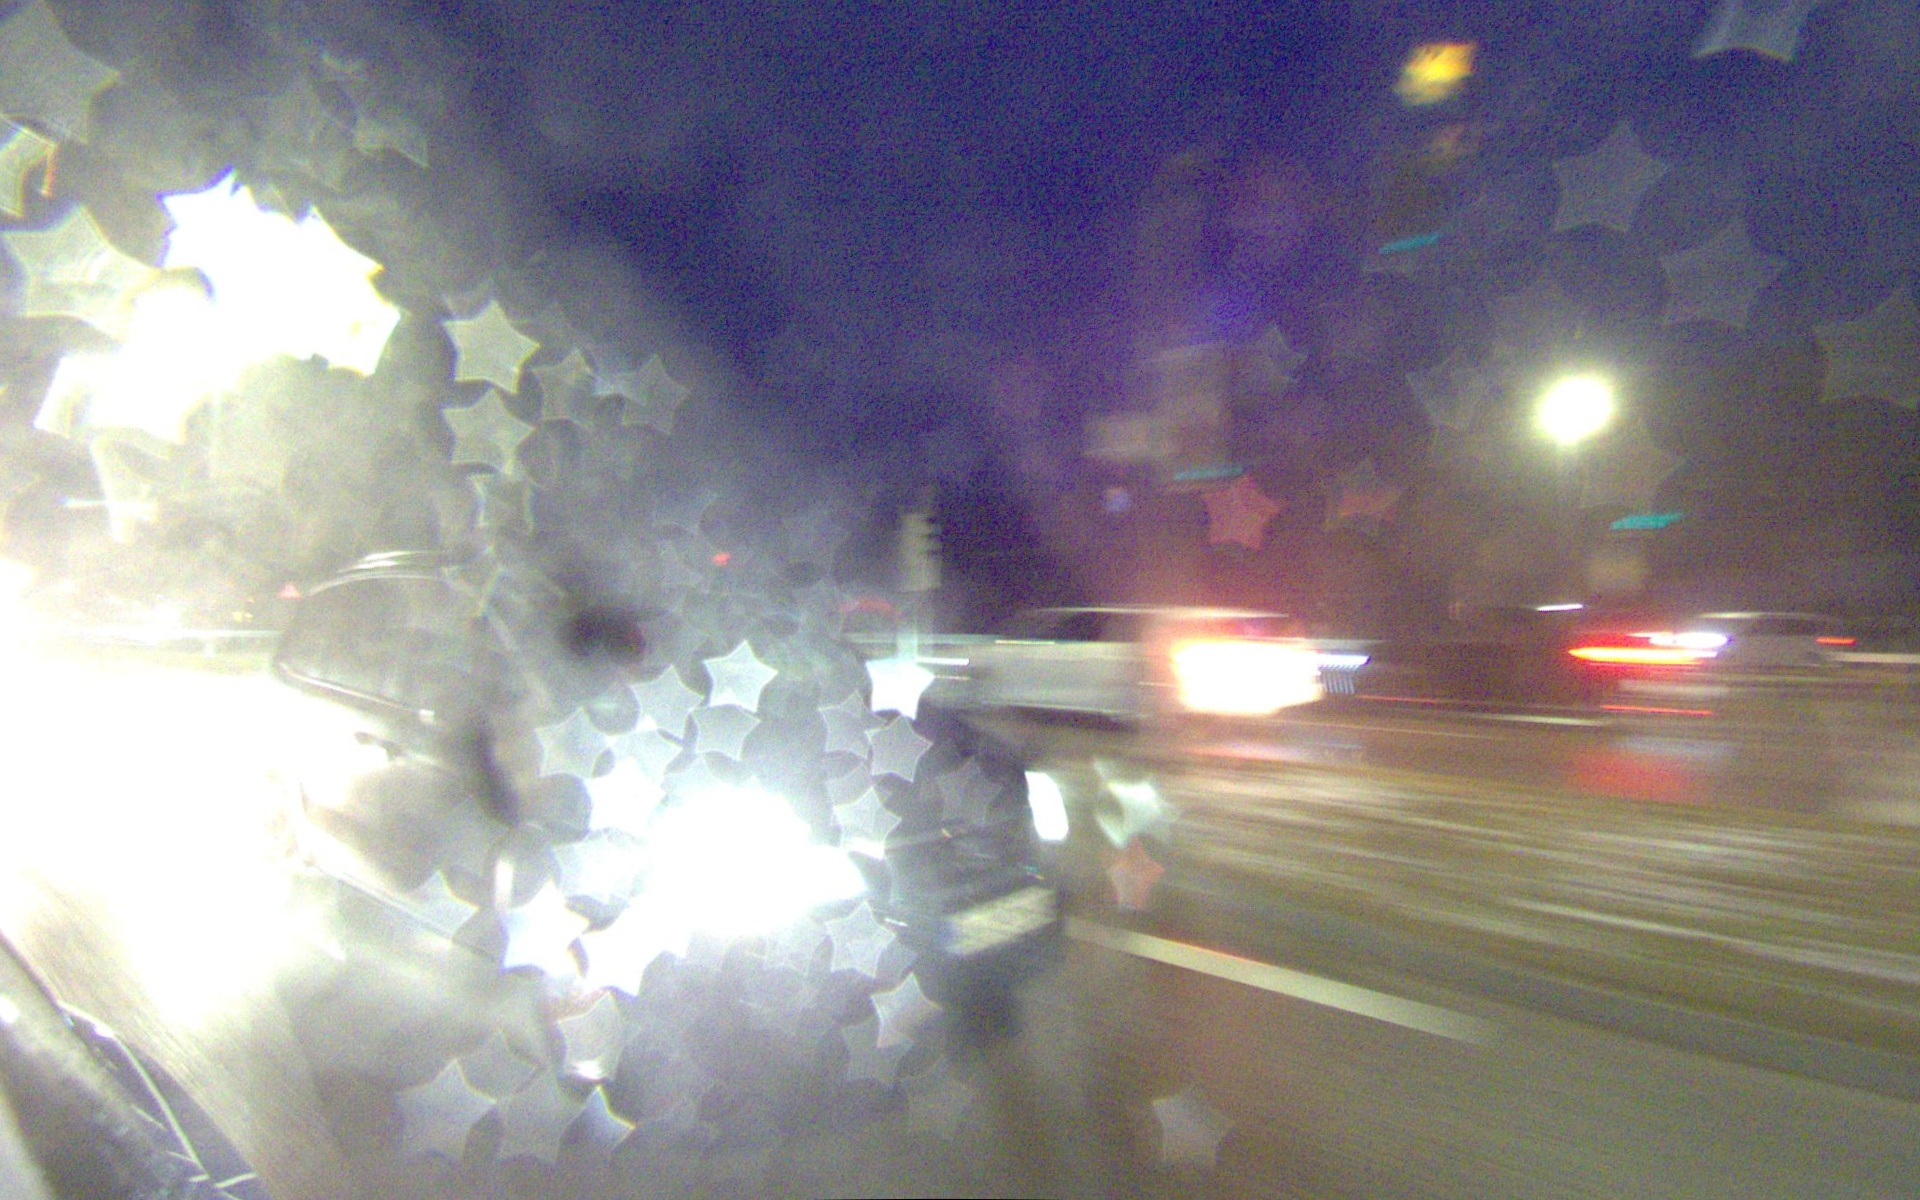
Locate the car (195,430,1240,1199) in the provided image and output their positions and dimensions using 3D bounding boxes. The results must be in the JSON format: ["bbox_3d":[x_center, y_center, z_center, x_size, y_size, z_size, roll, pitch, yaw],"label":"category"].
[{"bbox_3d":[-1.502,0.537,4.427,4.935,1.717,1.890,-1,-1,40],"label":"car"}]

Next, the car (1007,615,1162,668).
[{"bbox_3d":[3.571,1.191,29.588,4.072,1.460,2.184,1,0,-7],"label":"car"}]

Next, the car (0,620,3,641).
[{"bbox_3d":[-73.502,2.251,76.114,4.371,1.510,1.637,-1,-4,40],"label":"car"}]

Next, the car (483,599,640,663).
[{"bbox_3d":[-10.769,0.786,27.185,4.908,1.583,1.774,-1,-1,39],"label":"car"}]

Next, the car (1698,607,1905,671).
[{"bbox_3d":[27.157,1.223,32.820,4.861,1.954,1.998,1,0,4],"label":"car"}]

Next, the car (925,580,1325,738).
[{"bbox_3d":[1.822,0.615,12.405,4.712,1.583,1.680,-1,-1,43],"label":"car"}]

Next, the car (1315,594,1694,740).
[{"bbox_3d":[6.389,0.675,12.097,3.727,1.464,1.650,1,0,42],"label":"car"}]
